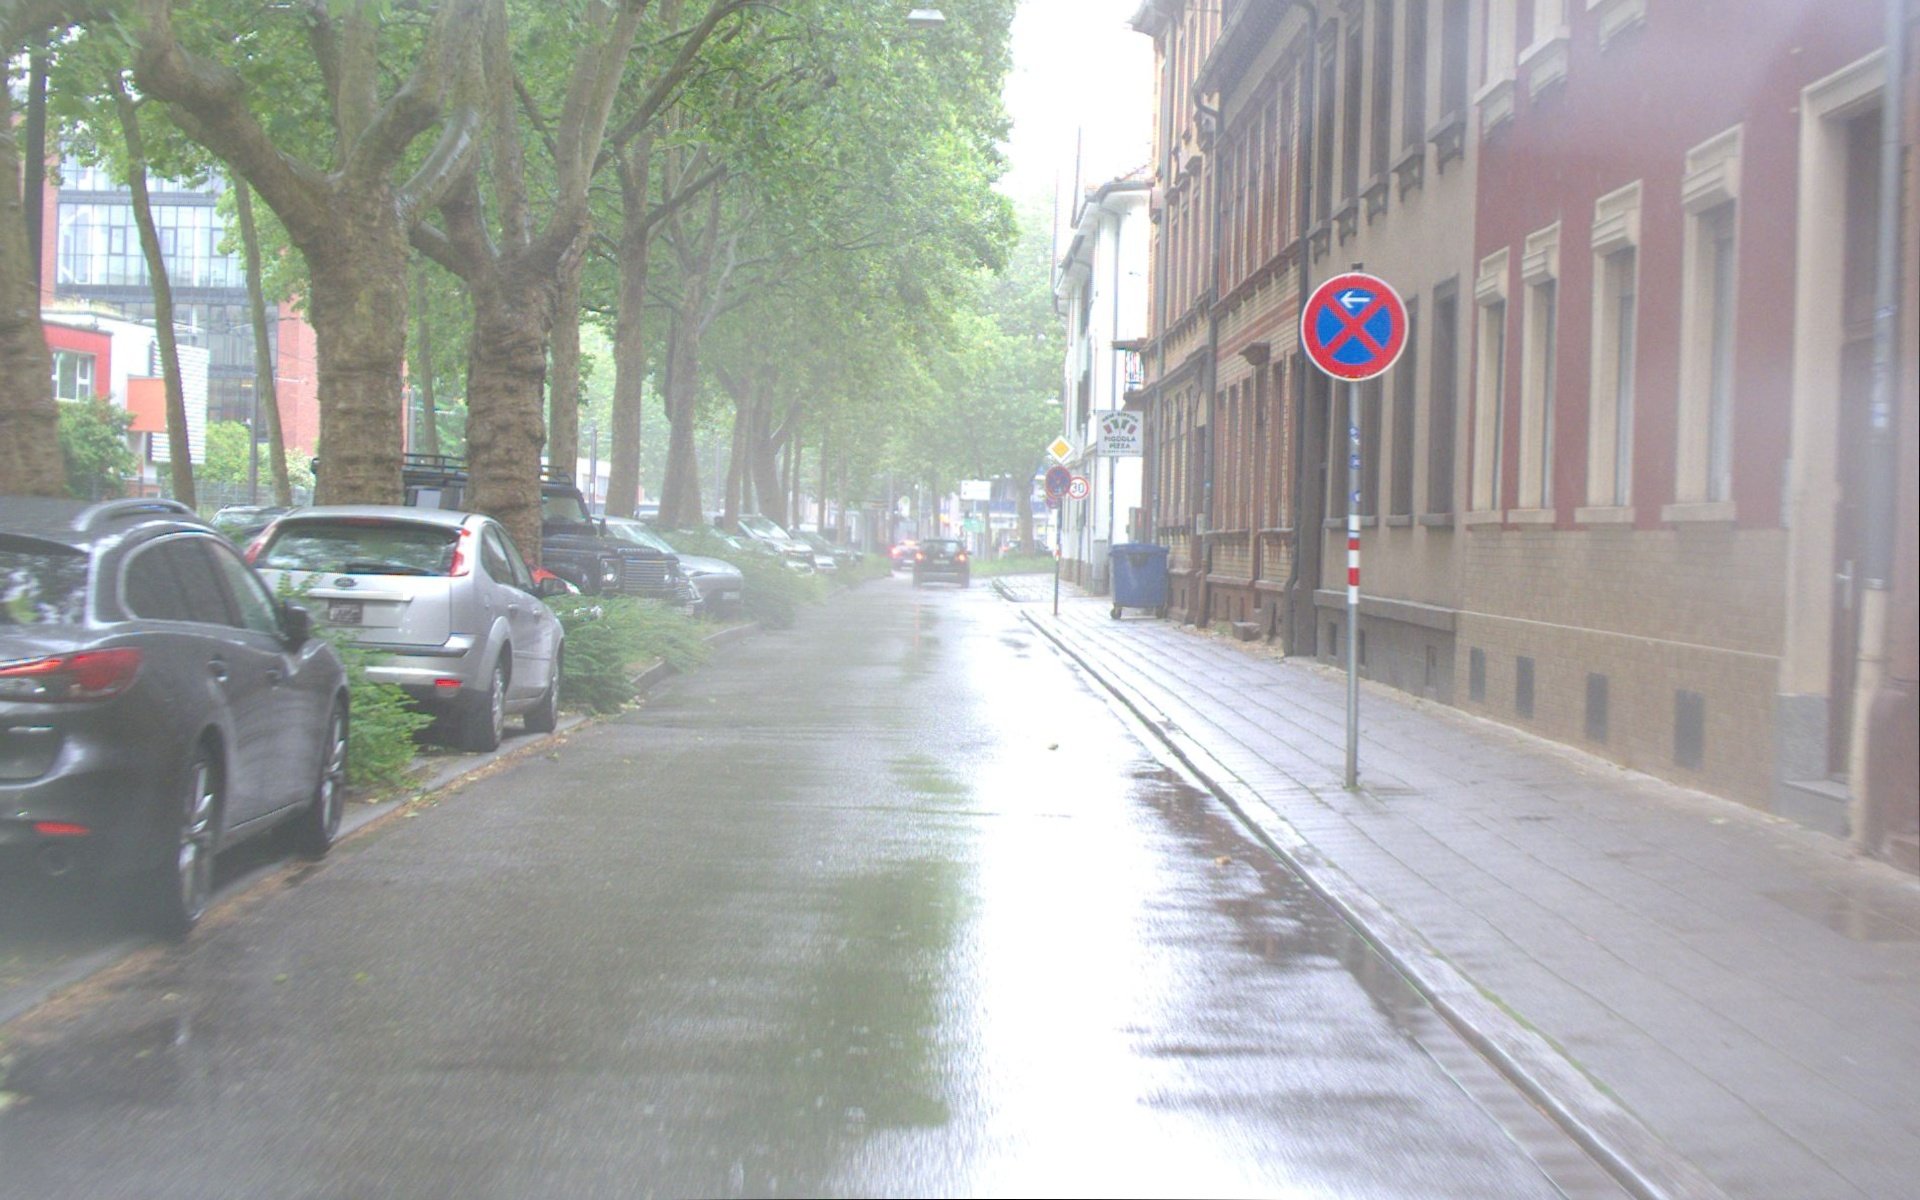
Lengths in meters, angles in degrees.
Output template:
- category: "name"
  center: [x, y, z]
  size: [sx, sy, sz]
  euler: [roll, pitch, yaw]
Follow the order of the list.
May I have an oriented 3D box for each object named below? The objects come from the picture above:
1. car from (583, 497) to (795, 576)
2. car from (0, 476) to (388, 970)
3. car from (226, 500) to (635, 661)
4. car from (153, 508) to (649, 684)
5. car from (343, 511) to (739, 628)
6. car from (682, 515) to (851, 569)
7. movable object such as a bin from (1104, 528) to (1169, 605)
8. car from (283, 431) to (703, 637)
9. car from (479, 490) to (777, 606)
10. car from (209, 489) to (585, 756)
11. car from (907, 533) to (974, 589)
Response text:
- category: "car"
  center: [-6.903, -1.622, 87.394]
  size: [5.124, 1.970, 2.099]
  euler: [1, 1, 31]
- category: "car"
  center: [-3.487, 0.289, 12.822]
  size: [1.896, 1.480, 4.622]
  euler: [3, 1, 0]
- category: "car"
  center: [-5.092, -0.213, 33.039]
  size: [3.497, 1.431, 1.779]
  euler: [2, 1, 27]
- category: "car"
  center: [-4.976, -0.070, 30.581]
  size: [4.039, 1.430, 1.779]
  euler: [2, 1, 25]
- category: "car"
  center: [-5.230, -0.402, 42.769]
  size: [4.652, 1.321, 1.844]
  euler: [2, 1, 27]
- category: "car"
  center: [-5.465, -1.635, 96.920]
  size: [4.554, 1.477, 1.772]
  euler: [1, 1, 30]
- category: "movable object such as a bin"
  center: [3.087, -0.594, 60.366]
  size: [1.021, 1.297, 1.367]
  euler: [-2, 2, 0]
- category: "car"
  center: [-5.463, -0.798, 40.008]
  size: [4.654, 2.275, 2.008]
  euler: [2, 1, 33]
- category: "car"
  center: [-4.945, -0.782, 51.090]
  size: [4.059, 1.532, 1.832]
  euler: [3, 2, 30]
- category: "car"
  center: [-3.576, 0.081, 22.540]
  size: [1.729, 1.509, 4.208]
  euler: [3, 1, 0]
- category: "car"
  center: [-0.617, -1.239, 107.715]
  size: [1.993, 1.634, 4.000]
  euler: [2, 1, -1]
